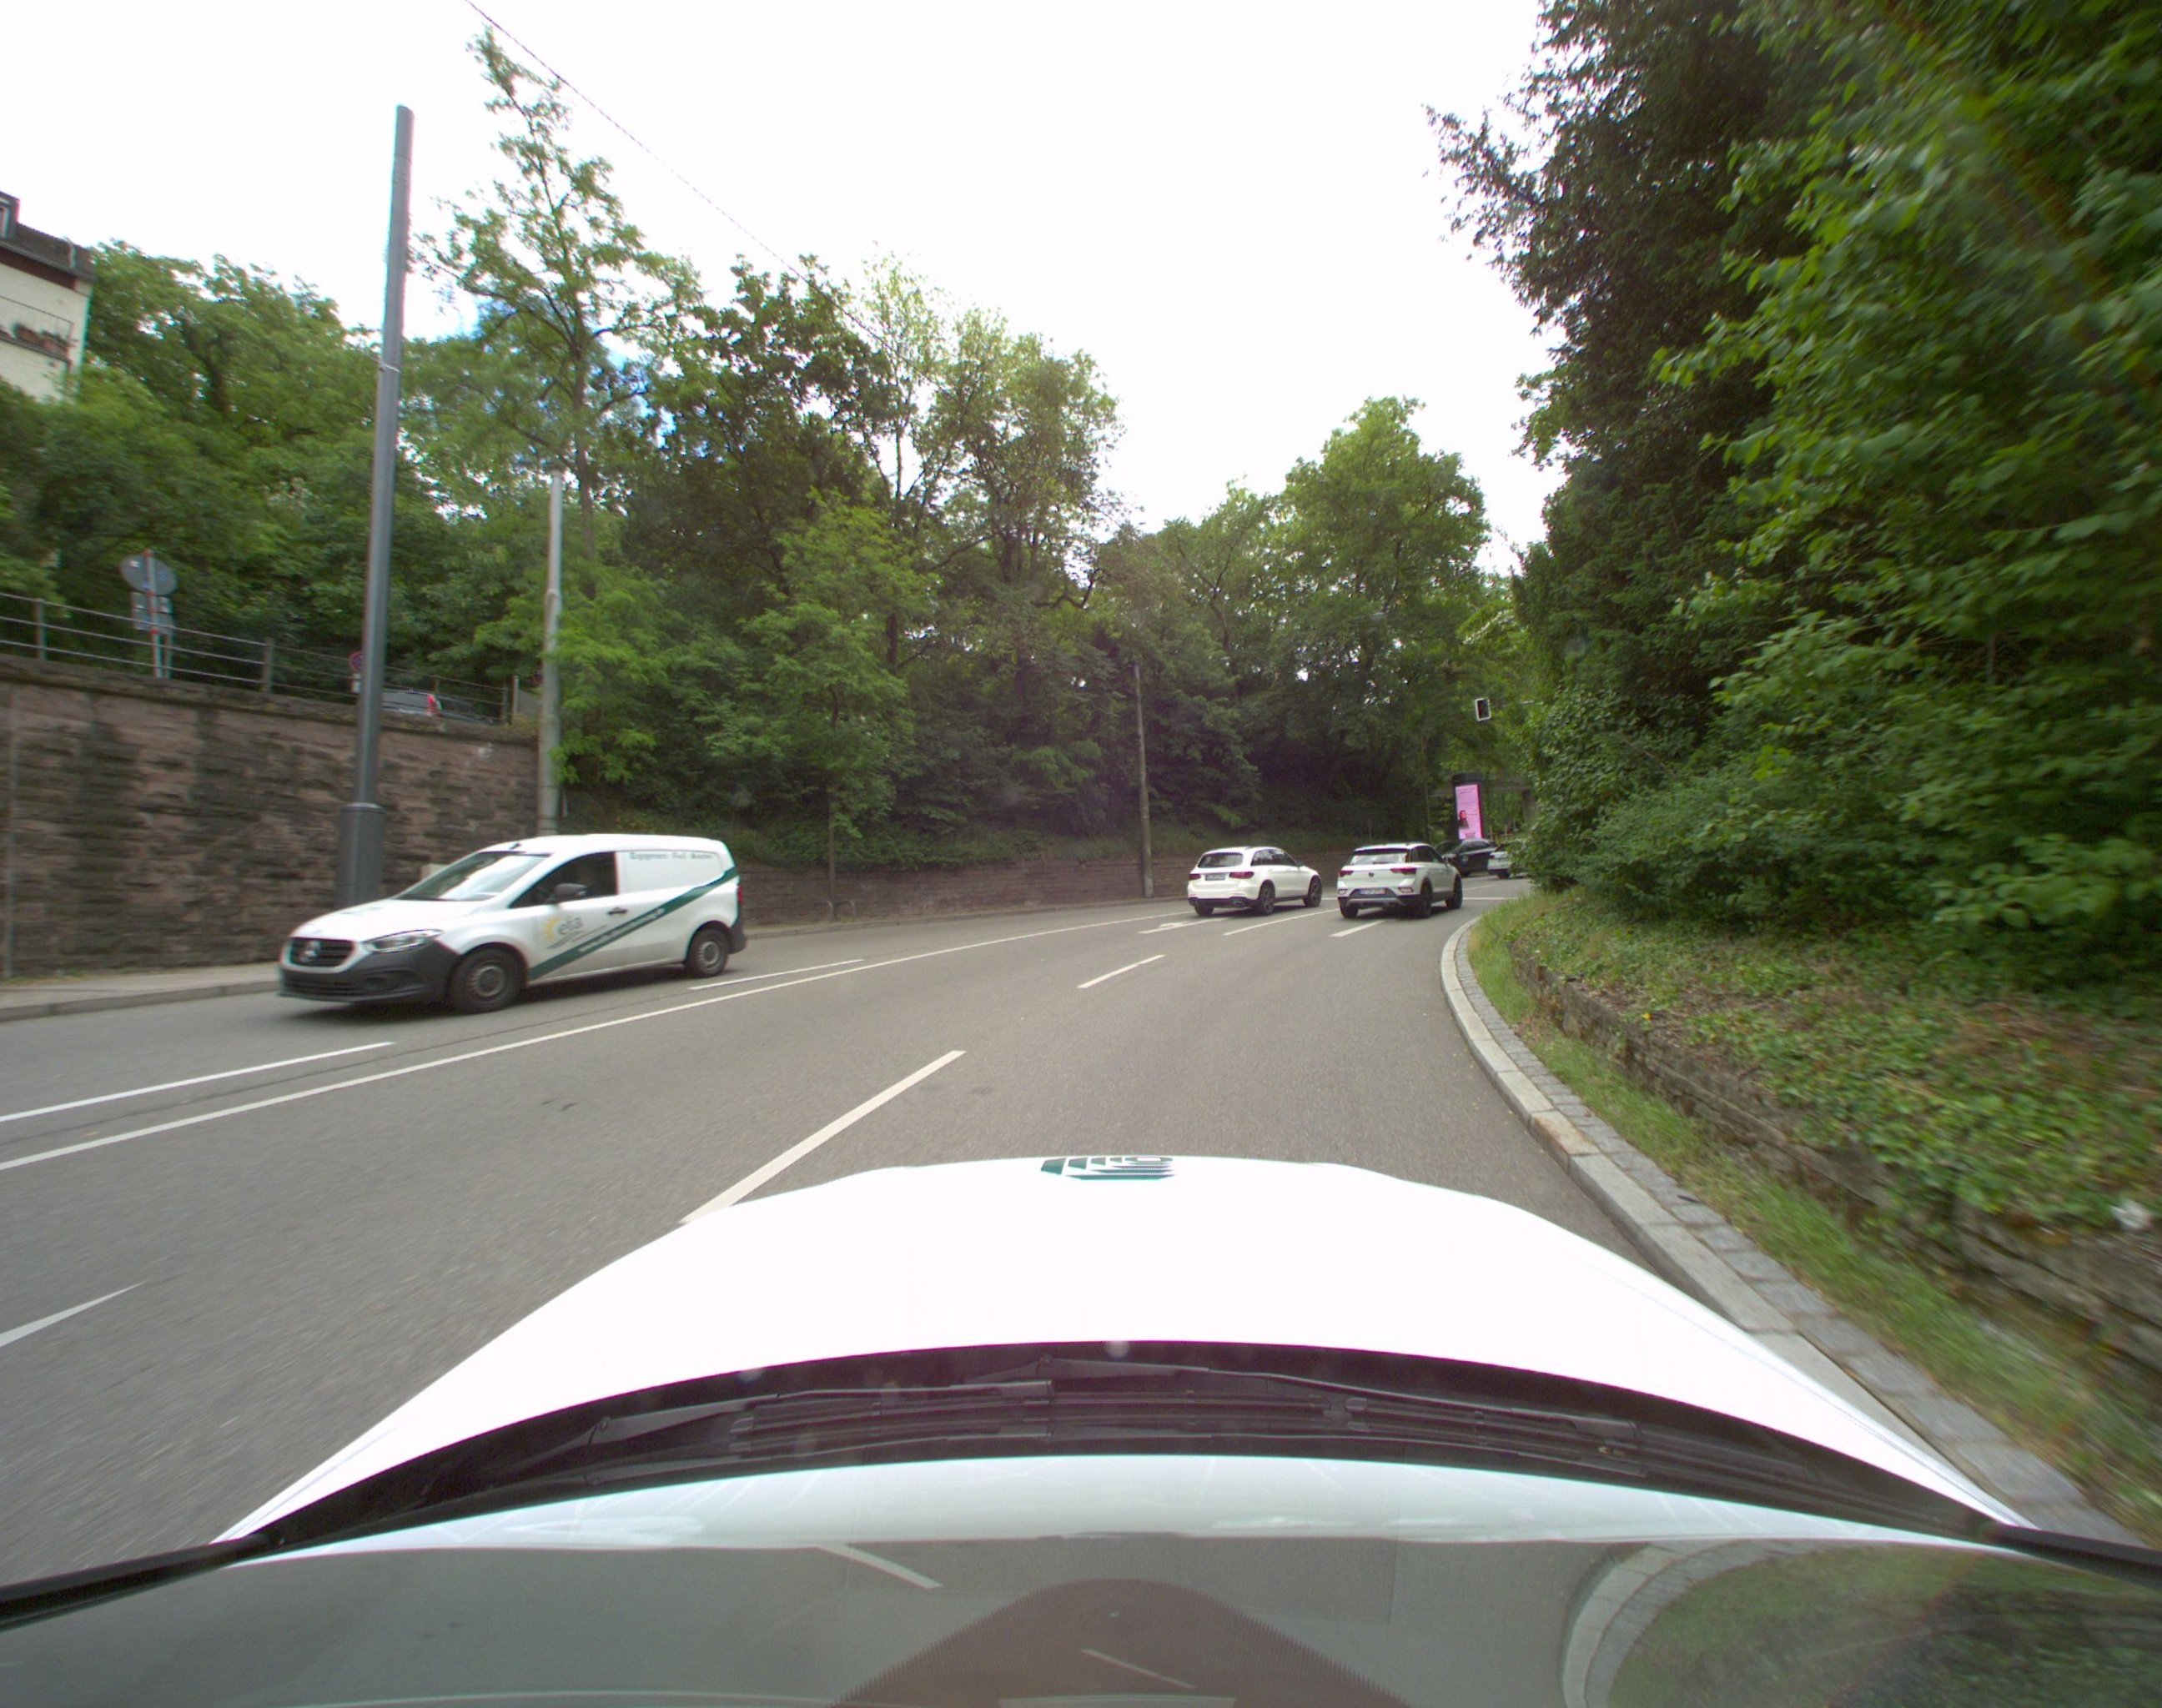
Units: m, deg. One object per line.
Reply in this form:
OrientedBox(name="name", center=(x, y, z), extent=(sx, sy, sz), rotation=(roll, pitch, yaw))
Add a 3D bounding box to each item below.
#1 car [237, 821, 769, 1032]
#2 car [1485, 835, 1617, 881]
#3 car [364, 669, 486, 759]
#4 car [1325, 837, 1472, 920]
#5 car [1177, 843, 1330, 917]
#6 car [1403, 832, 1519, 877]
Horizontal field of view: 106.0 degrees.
OrientedBox(name="car", center=(-6.028, 0.636, 9.351), extent=(1.806, 1.764, 4.694), rotation=(1, -1, 22))
OrientedBox(name="car", center=(17.959, 0.159, 31.113), extent=(4.782, 1.534, 1.856), rotation=(-2, -1, -23))
OrientedBox(name="car", center=(-16.784, -3.516, 21.033), extent=(1.686, 1.380, 3.701), rotation=(2, -4, -27))
OrientedBox(name="car", center=(7.173, 0.482, 18.136), extent=(1.737, 1.553, 4.365), rotation=(-3, 0, 39))
OrientedBox(name="car", center=(4.479, 0.587, 20.572), extent=(1.840, 1.605, 4.701), rotation=(-3, -1, 38))
OrientedBox(name="car", center=(16.261, 0.008, 34.834), extent=(4.653, 1.624, 1.747), rotation=(-3, -2, -22))
